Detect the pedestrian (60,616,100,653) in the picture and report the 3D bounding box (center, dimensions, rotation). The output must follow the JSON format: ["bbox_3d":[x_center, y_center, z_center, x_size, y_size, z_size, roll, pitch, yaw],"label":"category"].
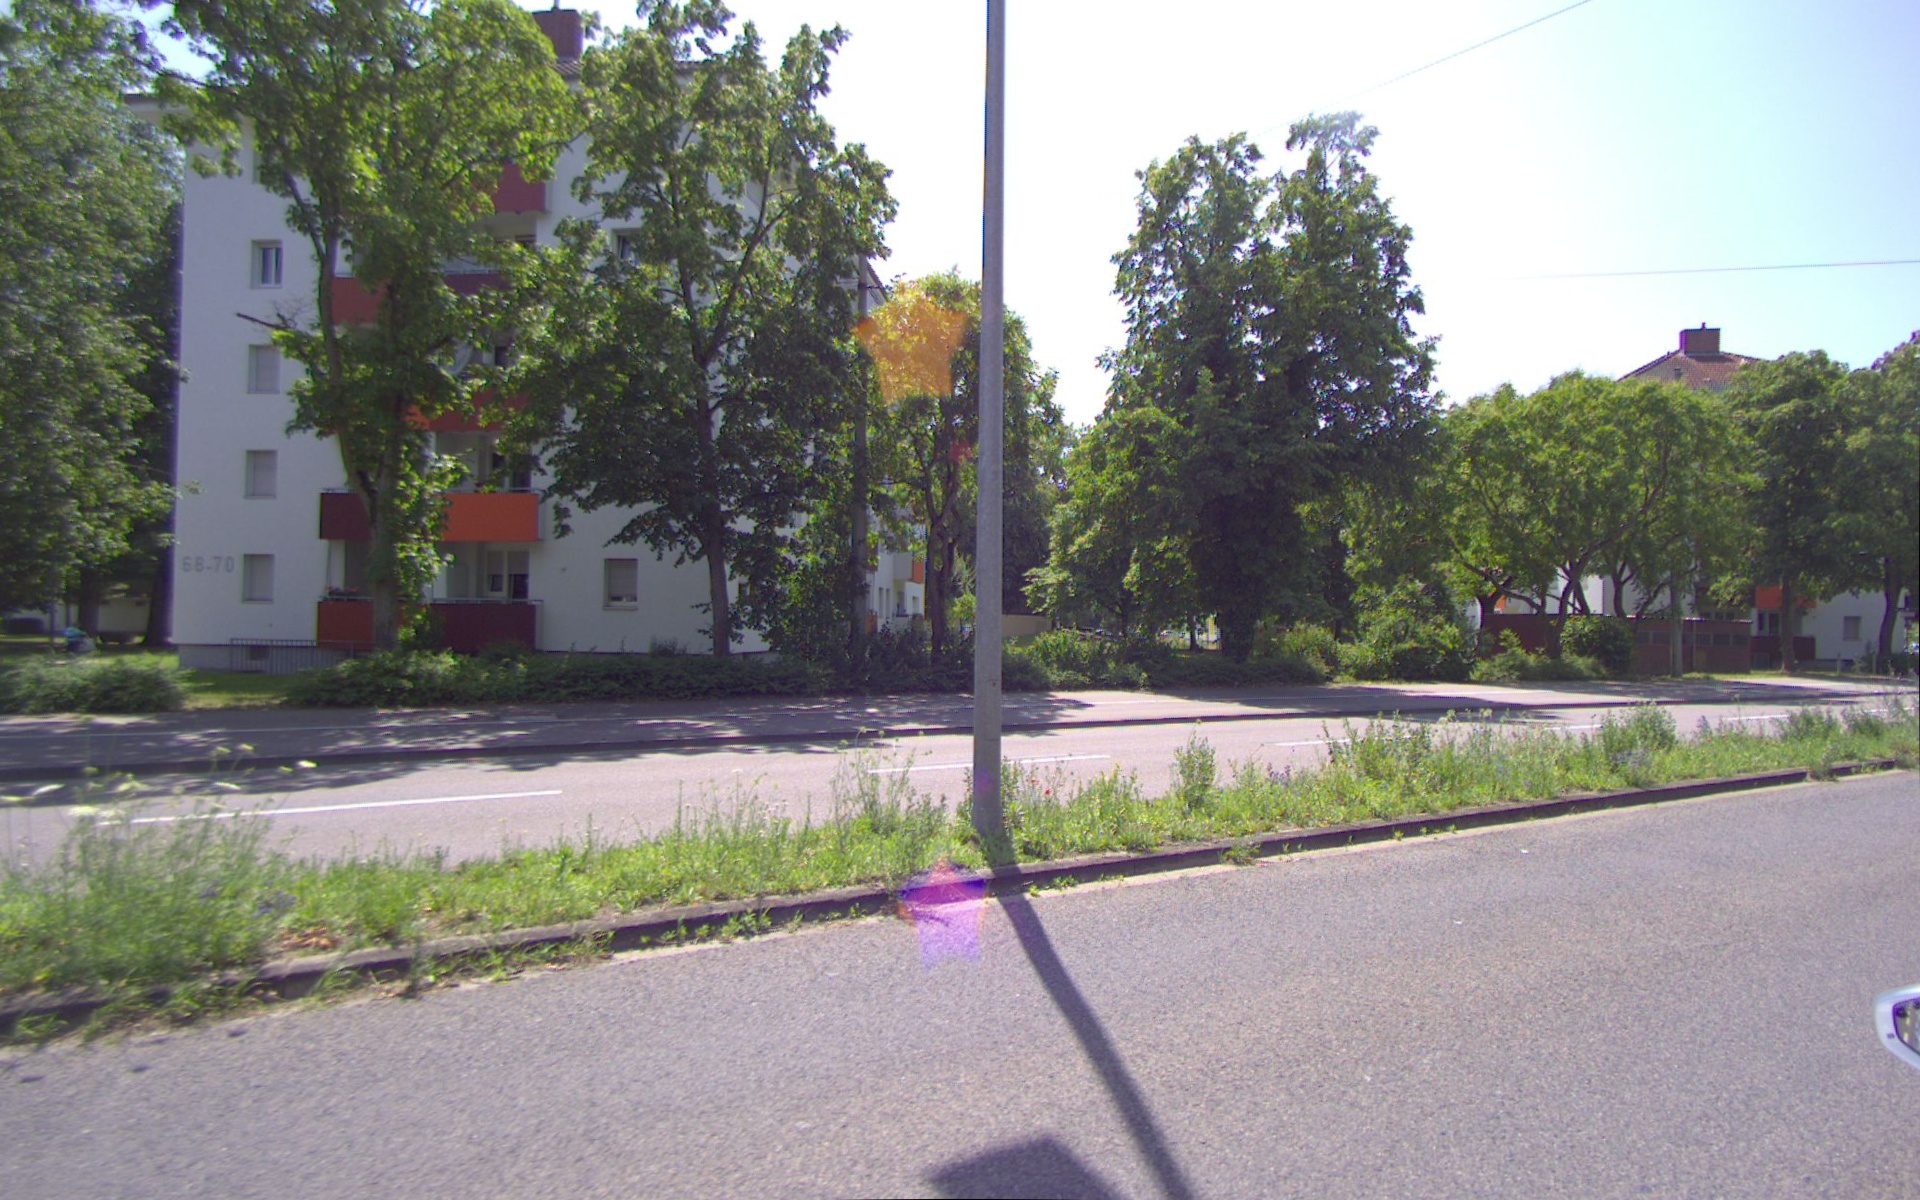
[{"bbox_3d":[-29.204,1.139,33.337,0.888,1.191,0.400,2,-2,-26],"label":"pedestrian"}]

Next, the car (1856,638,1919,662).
[{"bbox_3d":[72.144,3.854,77.120,1.980,1.781,4.636,2,-2,-35],"label":"car"}]
